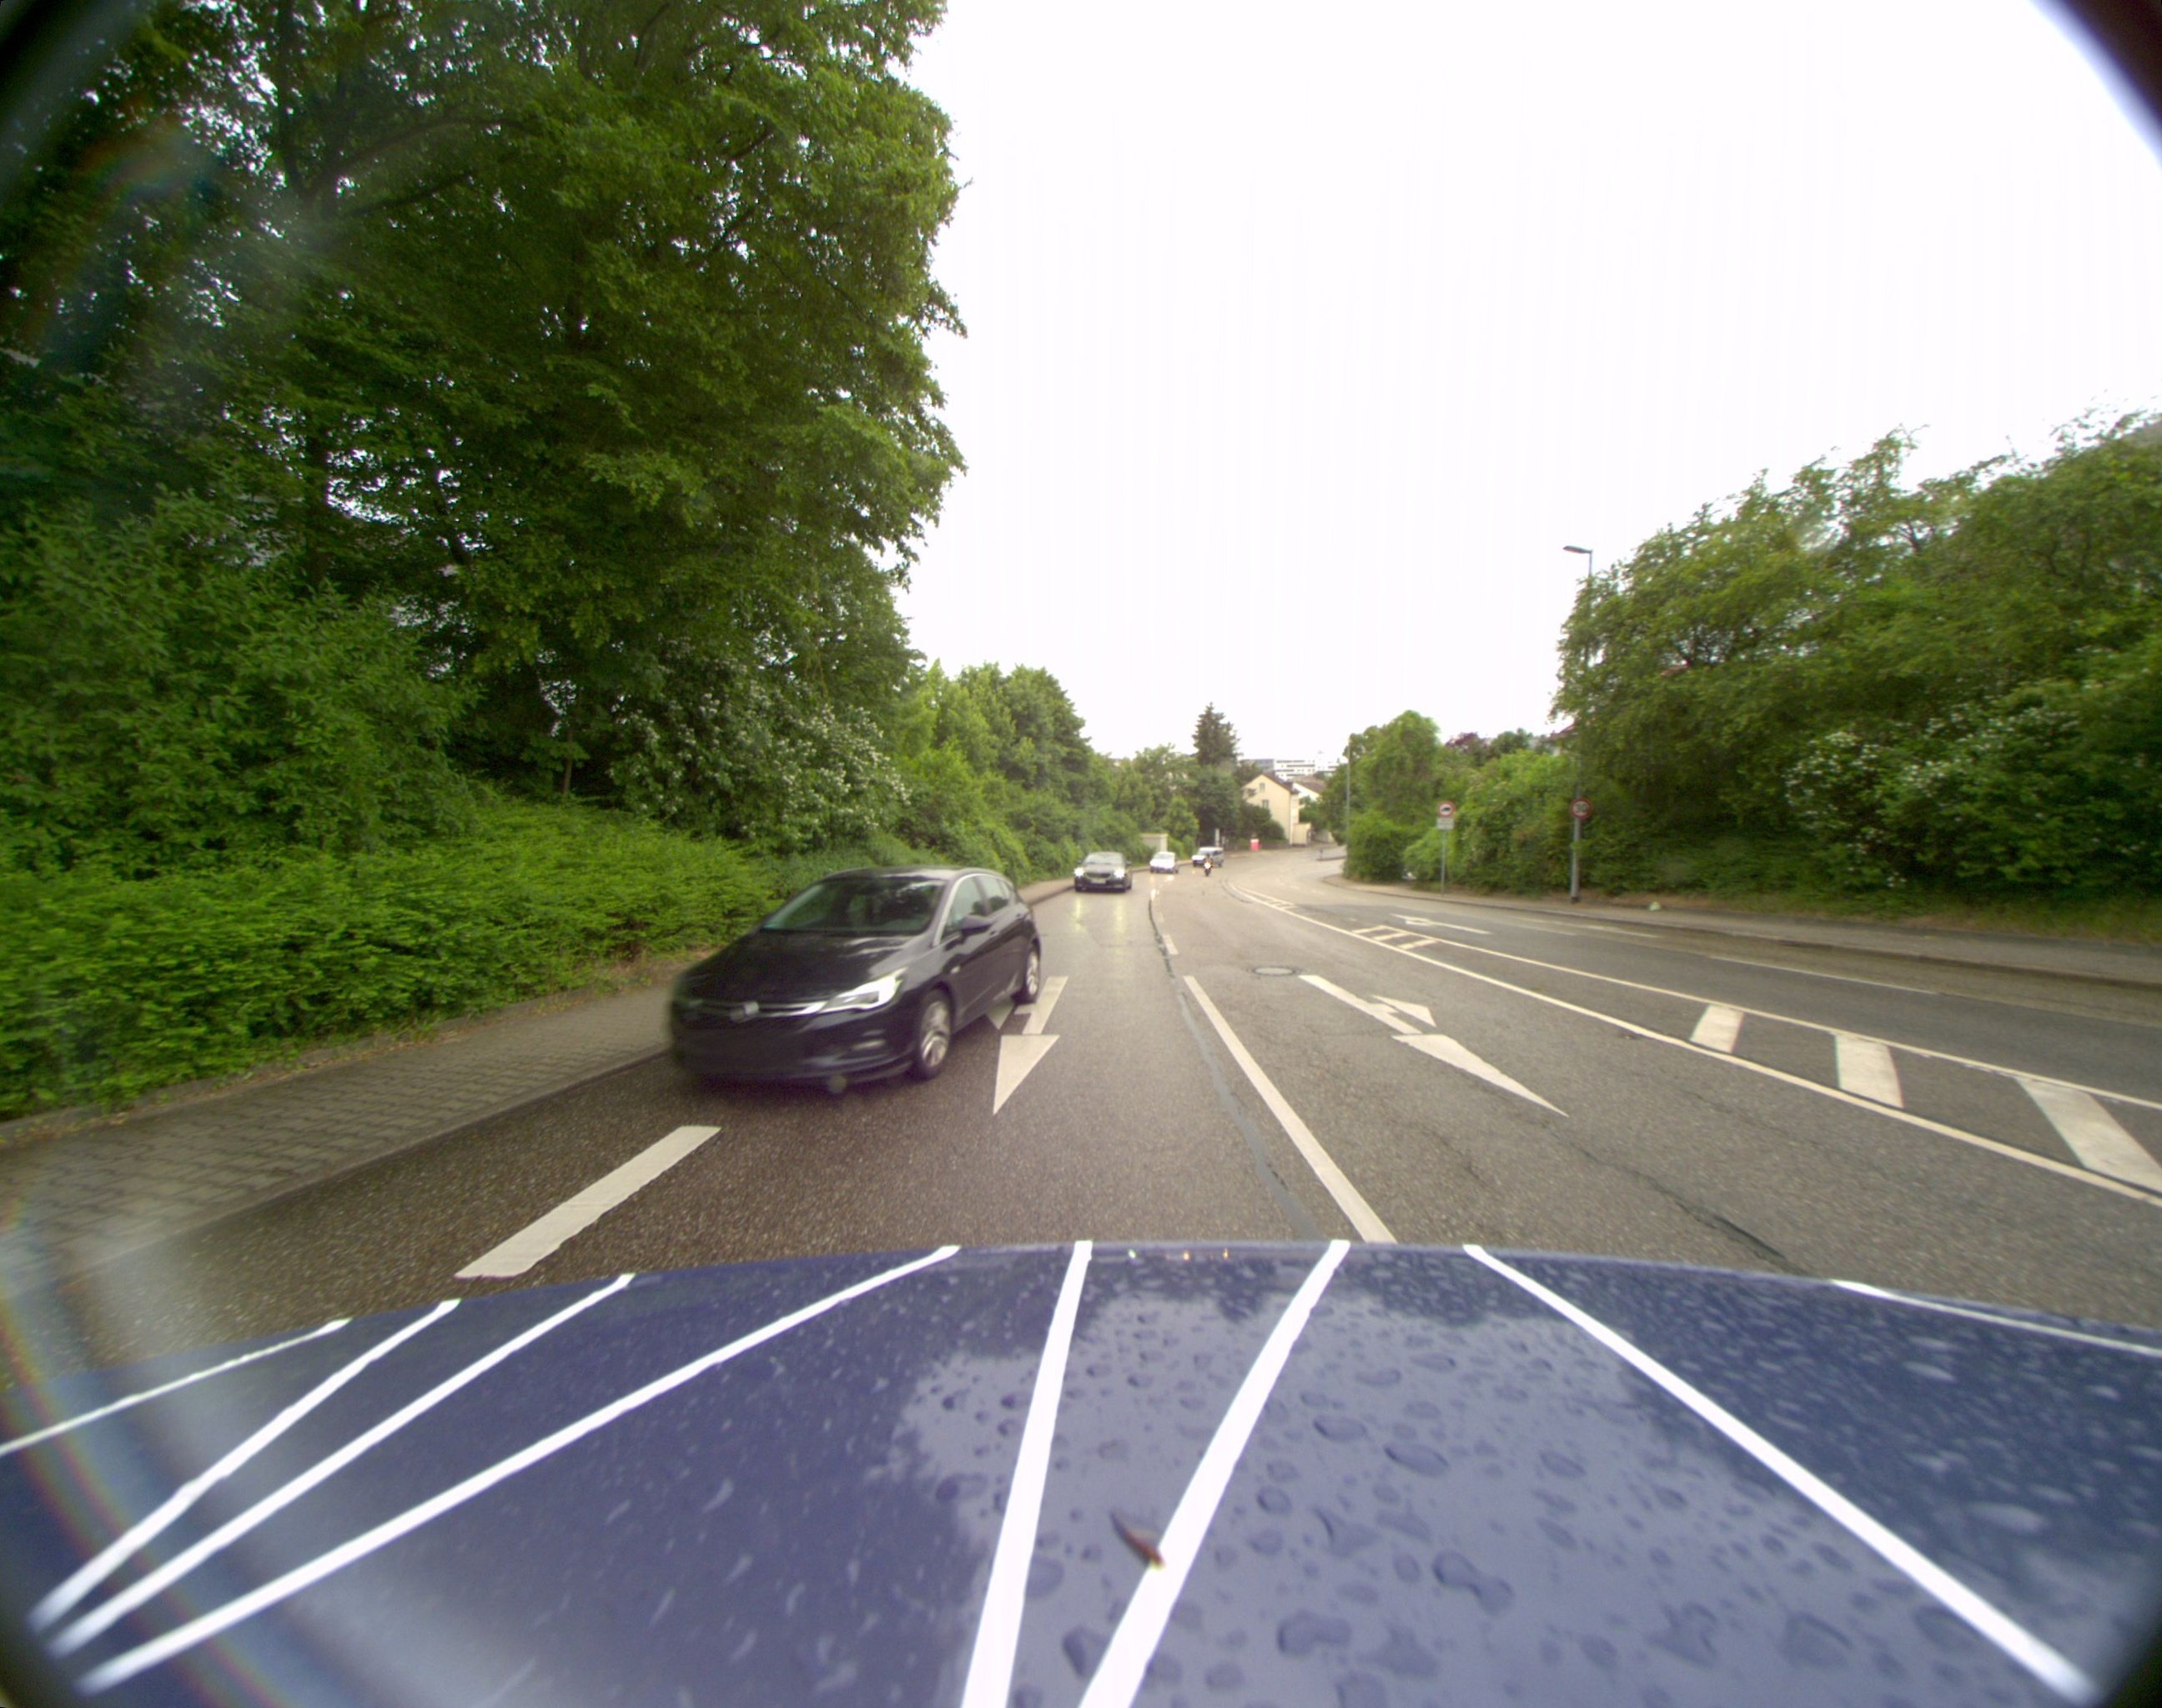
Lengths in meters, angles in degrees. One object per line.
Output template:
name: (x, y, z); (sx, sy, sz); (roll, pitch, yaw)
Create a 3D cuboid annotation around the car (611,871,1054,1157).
car: (-1.590, 0.960, 6.528); (1.815, 1.434, 4.165); (2, 1, 11)

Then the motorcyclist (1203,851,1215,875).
motorcyclist: (9.035, 0.619, 53.691); (0.766, 1.633, 0.675); (3, 2, 12)

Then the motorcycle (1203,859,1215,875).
motorcycle: (9.014, 0.907, 53.624); (0.692, 1.047, 1.748); (3, 2, 12)

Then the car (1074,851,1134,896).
car: (0.950, 0.692, 28.837); (1.871, 1.497, 4.199); (1, 1, 6)

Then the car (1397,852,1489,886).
car: (19.401, 0.799, 40.876); (3.995, 1.527, 2.001); (-3, 0, 8)

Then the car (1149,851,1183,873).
car: (6.286, 0.584, 55.816); (1.815, 1.431, 4.004); (4, 2, 15)

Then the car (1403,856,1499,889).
car: (18.510, 0.918, 38.166); (3.908, 1.432, 1.812); (-3, 0, 9)

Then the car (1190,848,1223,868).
car: (11.925, 0.360, 72.029); (1.773, 1.765, 4.008); (4, 2, 28)
